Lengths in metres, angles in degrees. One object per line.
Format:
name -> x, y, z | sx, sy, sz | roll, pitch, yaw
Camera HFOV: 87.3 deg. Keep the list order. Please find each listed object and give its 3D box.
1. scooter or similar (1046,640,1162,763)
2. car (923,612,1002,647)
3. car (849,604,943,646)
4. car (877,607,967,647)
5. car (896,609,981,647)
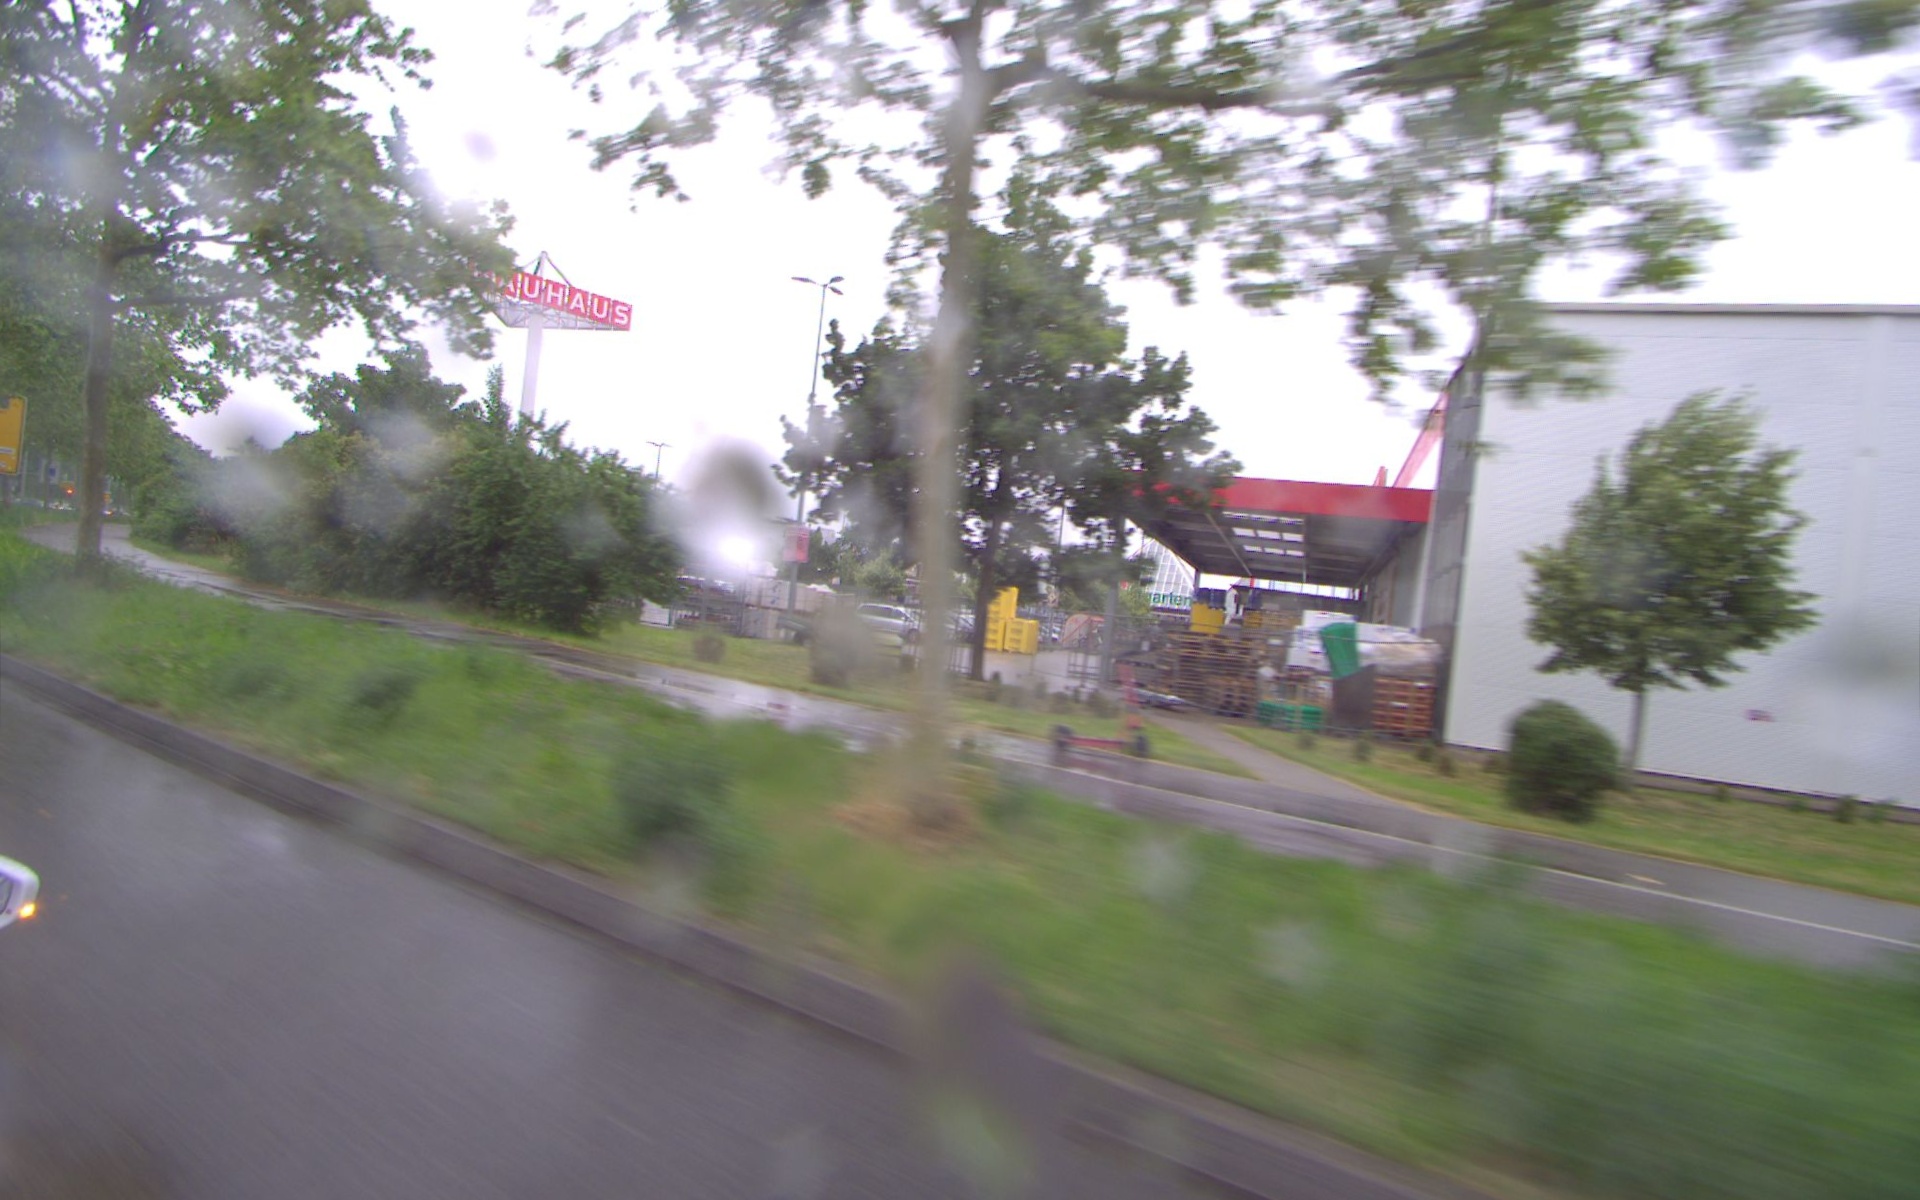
scooter or similar -> 1.629, 1.121, 11.344 | 1.090, 1.212, 0.550 | 7, 0, 17
car -> 0.173, 1.809, 62.254 | 4.354, 1.596, 1.921 | 6, -1, 21
car -> -3.320, 1.291, 52.248 | 4.354, 1.596, 1.921 | 6, -1, 21
car -> -2.083, 1.454, 54.838 | 4.354, 1.596, 1.921 | 6, -1, 21
car -> -1.232, 1.588, 57.659 | 4.354, 1.596, 1.921 | 6, -1, 21
